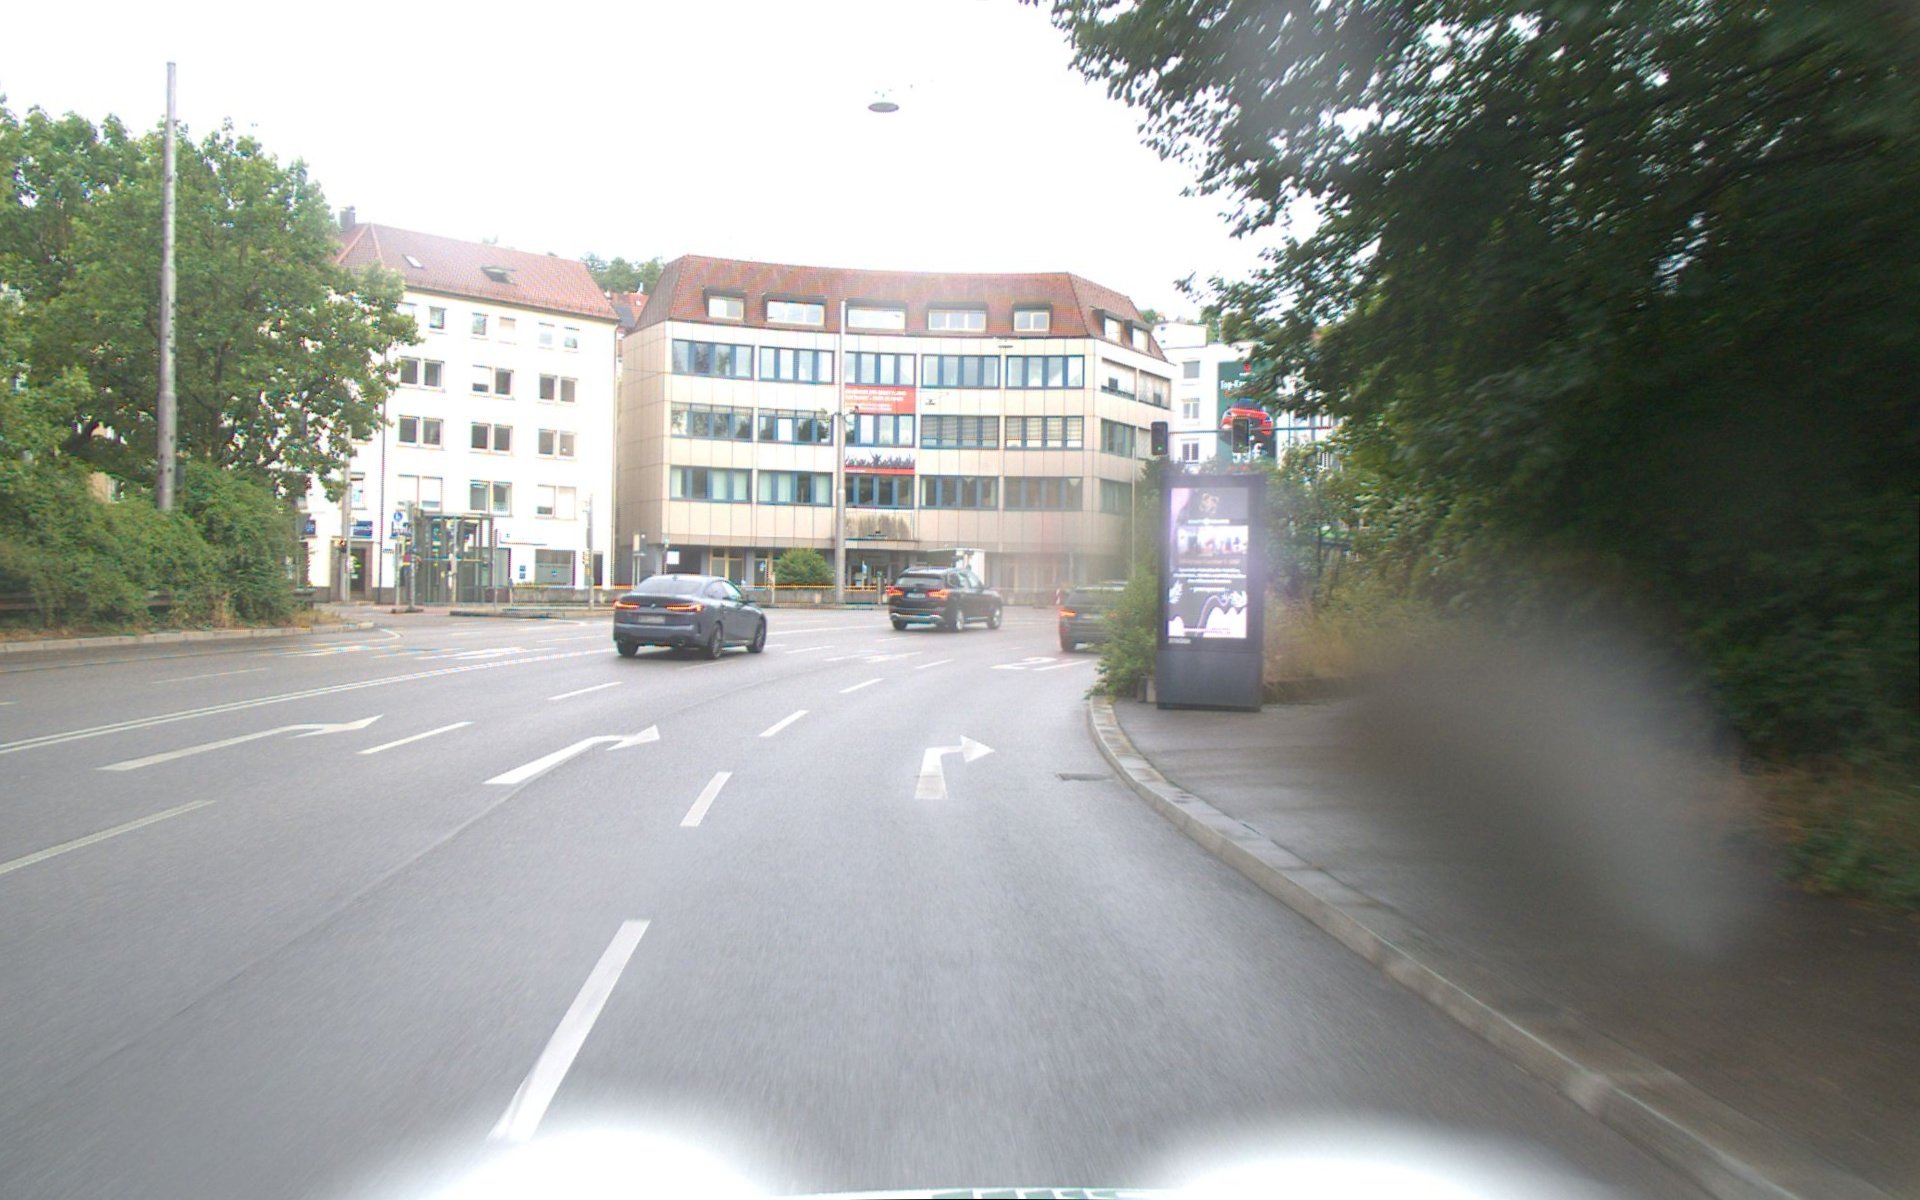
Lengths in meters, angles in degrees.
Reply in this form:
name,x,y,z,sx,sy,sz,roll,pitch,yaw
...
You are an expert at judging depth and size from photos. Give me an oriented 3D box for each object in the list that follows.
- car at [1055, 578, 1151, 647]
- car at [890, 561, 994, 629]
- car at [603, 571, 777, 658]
name,x,y,z,sx,sy,sz,roll,pitch,yaw
car,3.237,0.278,36.853,1.916,1.451,4.128,0,0,8
car,-0.432,-0.118,44.099,1.859,1.723,4.003,0,0,13
car,-4.790,0.260,29.989,1.752,1.451,4.388,0,0,10
